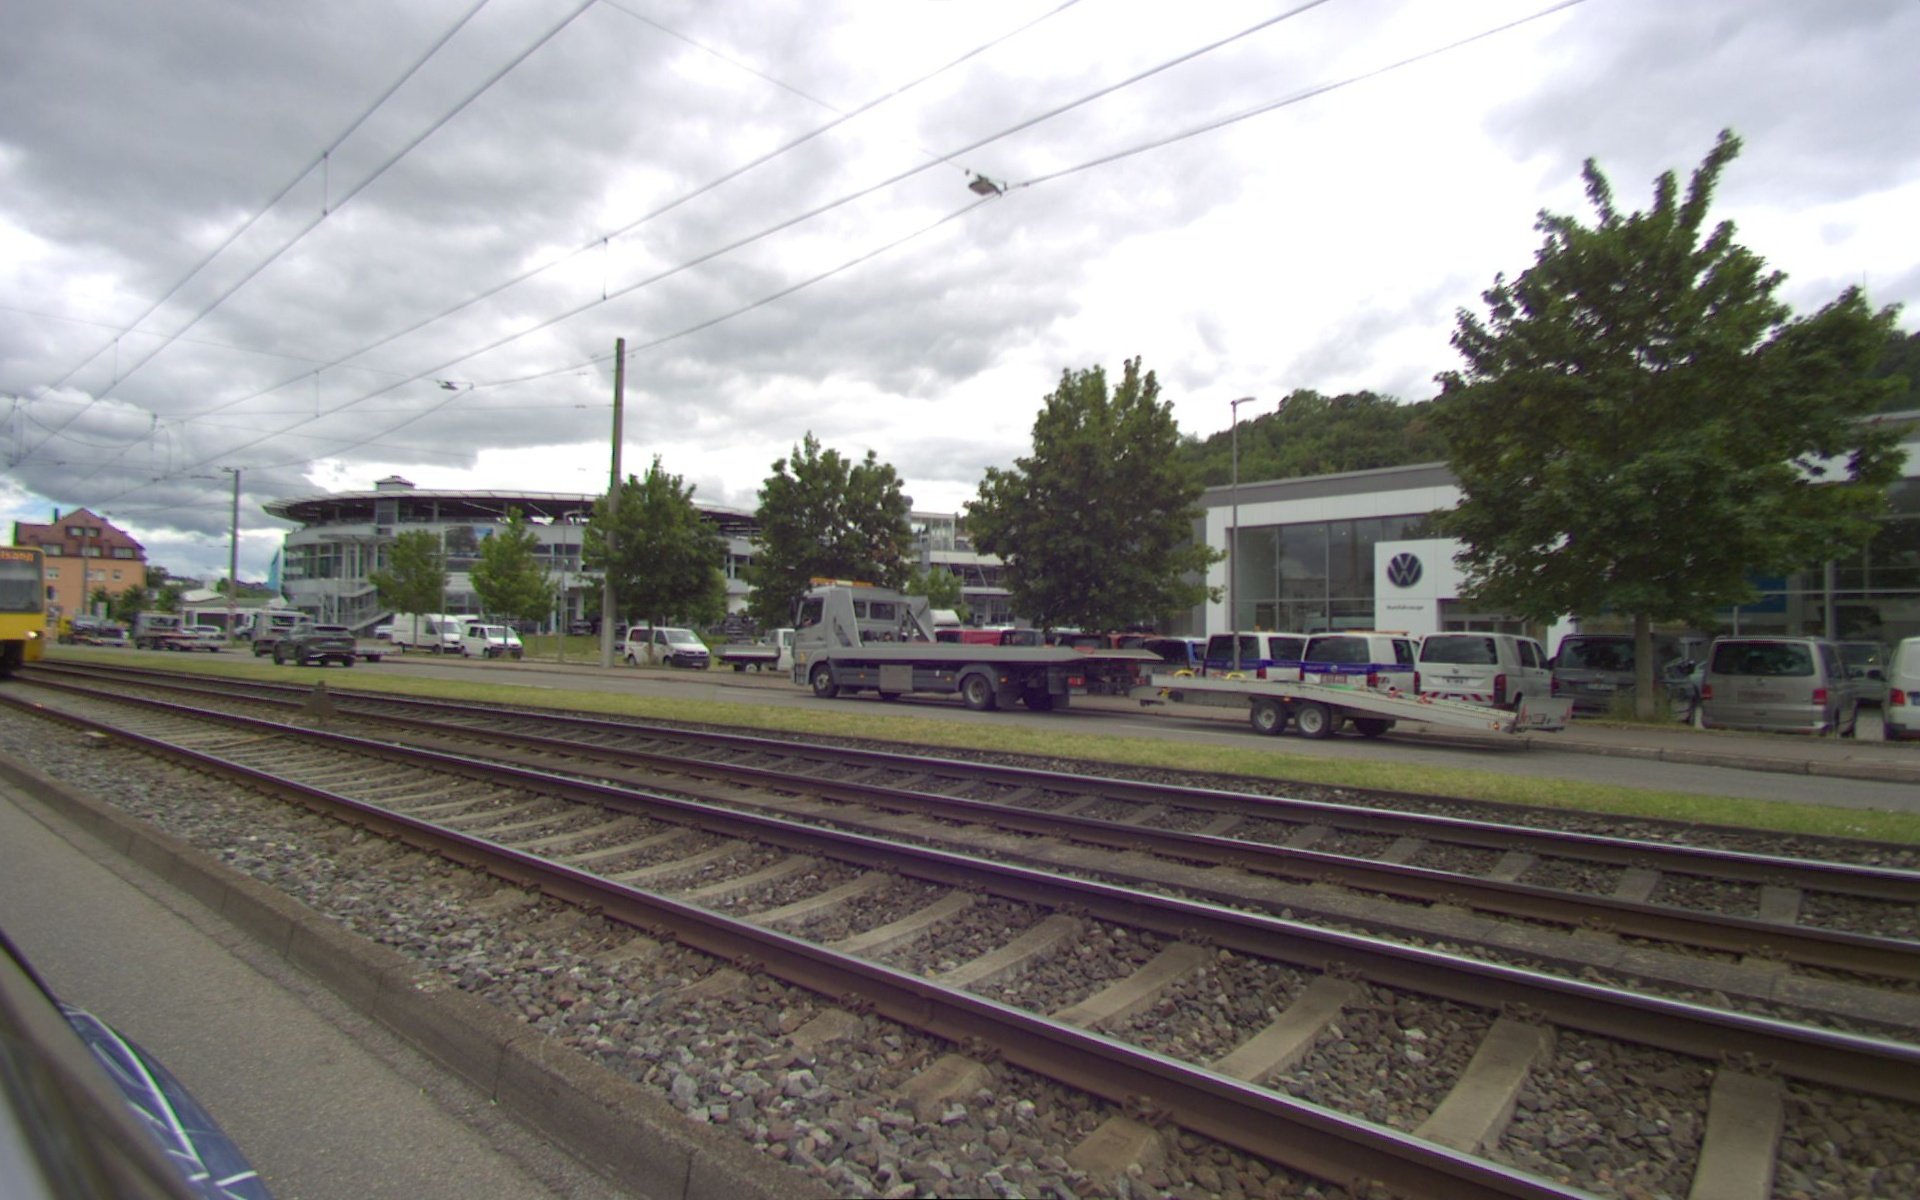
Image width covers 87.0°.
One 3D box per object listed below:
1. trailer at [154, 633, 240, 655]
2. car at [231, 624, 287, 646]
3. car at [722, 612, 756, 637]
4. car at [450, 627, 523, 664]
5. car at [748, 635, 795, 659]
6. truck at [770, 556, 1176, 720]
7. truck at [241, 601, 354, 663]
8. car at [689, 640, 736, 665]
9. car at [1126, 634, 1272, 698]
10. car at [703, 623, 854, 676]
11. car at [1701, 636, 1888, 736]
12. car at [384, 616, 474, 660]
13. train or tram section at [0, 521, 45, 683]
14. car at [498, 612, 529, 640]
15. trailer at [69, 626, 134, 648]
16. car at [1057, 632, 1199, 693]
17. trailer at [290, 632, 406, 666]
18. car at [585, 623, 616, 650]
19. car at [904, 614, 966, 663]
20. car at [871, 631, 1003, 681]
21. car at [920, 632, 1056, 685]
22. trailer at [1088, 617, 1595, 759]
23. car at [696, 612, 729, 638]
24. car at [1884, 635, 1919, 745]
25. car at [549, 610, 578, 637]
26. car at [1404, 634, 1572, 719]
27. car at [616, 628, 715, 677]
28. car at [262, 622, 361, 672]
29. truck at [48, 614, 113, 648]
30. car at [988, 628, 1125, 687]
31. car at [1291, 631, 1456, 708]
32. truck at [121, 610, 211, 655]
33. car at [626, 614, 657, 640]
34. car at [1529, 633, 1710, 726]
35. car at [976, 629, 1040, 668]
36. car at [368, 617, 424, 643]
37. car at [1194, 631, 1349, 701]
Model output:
[{"bbox_3d":[-50.408,2.893,66.777,7.000,1.287,3.018,-2,-5,40],"label":"trailer"},{"bbox_3d":[-62.657,3.112,90.443,3.936,1.962,2.004,2,-3,-39],"label":"car"},{"bbox_3d":[-18.059,2.006,82.587,1.965,2.029,4.013,1,-2,-23],"label":"car"},{"bbox_3d":[-26.837,2.555,57.274,4.805,2.029,1.973,-2,-3,41],"label":"car"},{"bbox_3d":[-13.399,3.306,71.832,1.650,1.630,3.722,2,-3,-40],"label":"car"},{"bbox_3d":[-0.168,0.821,21.313,2.724,2.763,9.223,5,-5,-45],"label":"truck"},{"bbox_3d":[-35.447,1.748,54.030,8.451,3.004,2.833,-2,-5,42],"label":"truck"},{"bbox_3d":[-16.907,3.565,69.052,1.650,1.630,3.722,2,-3,-40],"label":"car"},{"bbox_3d":[6.617,1.764,27.832,3.937,1.630,2.003,2,-3,-41],"label":"car"},{"bbox_3d":[-7.350,2.020,41.052,5.615,2.023,2.151,2,-3,-25],"label":"car"},{"bbox_3d":[15.460,1.482,18.674,4.312,1.630,2.007,2,-3,-42],"label":"car"},{"bbox_3d":[-31.945,2.266,60.834,5.839,2.580,1.980,-1,-2,30],"label":"car"},{"bbox_3d":[-30.693,0.135,30.261,16.941,4.037,3.352,-1,-1,42],"label":"train or tram section"},{"bbox_3d":[-33.548,1.989,76.126,1.965,2.029,4.013,1,-2,-23],"label":"car"},{"bbox_3d":[-71.996,3.094,84.822,7.563,1.701,2.947,-2,-3,41],"label":"trailer"},{"bbox_3d":[4.867,1.757,29.136,3.937,1.630,2.003,2,-3,-41],"label":"car"},{"bbox_3d":[-29.582,2.345,48.783,7.222,1.507,2.728,-2,-5,42],"label":"trailer"},{"bbox_3d":[-27.901,2.811,78.481,1.965,2.029,4.013,1,-2,-23],"label":"car"},{"bbox_3d":[-1.519,2.230,59.124,1.965,2.726,4.876,1,-2,-23],"label":"car"},{"bbox_3d":[-0.753,1.933,35.618,4.291,1.630,2.123,2,-3,-41],"label":"car"},{"bbox_3d":[0.945,1.850,32.863,4.126,1.630,2.066,2,-3,-41],"label":"car"},{"bbox_3d":[5.456,1.202,15.553,2.355,1.711,6.952,5,-5,-44],"label":"trailer"},{"bbox_3d":[-20.073,2.008,81.916,1.965,2.029,4.013,1,-2,-23],"label":"car"},{"bbox_3d":[16.768,1.437,16.755,2.032,1.701,4.316,-2,-3,44],"label":"car"},{"bbox_3d":[-30.221,1.828,77.114,1.965,2.029,4.013,1,-2,-23],"label":"car"},{"bbox_3d":[11.501,1.569,21.911,4.315,1.630,2.005,2,-3,-45],"label":"car"},{"bbox_3d":[-13.072,2.295,44.822,4.860,2.029,1.972,-1,-3,43],"label":"car"},{"bbox_3d":[-25.093,1.806,39.106,4.532,1.752,1.972,0,-4,41],"label":"car"},{"bbox_3d":[-78.391,2.745,90.171,9.060,2.881,3.018,-2,-3,41],"label":"truck"},{"bbox_3d":[3.004,1.727,31.031,3.937,1.677,2.051,2,-3,-41],"label":"car"},{"bbox_3d":[9.664,1.552,23.560,3.937,1.630,2.003,2,-3,-41],"label":"car"},{"bbox_3d":[-56.516,2.308,71.946,8.953,2.944,3.076,-2,-5,40],"label":"truck"},{"bbox_3d":[-25.698,2.186,81.497,1.965,2.029,4.013,1,-2,-23],"label":"car"},{"bbox_3d":[13.488,1.527,20.614,4.312,1.699,2.007,2,-3,-42],"label":"car"},{"bbox_3d":[2.734,2.803,59.060,1.965,2.144,4.876,1,-2,-20],"label":"car"},{"bbox_3d":[-45.654,2.452,81.959,1.976,2.029,3.991,0,-2,7],"label":"car"},{"bbox_3d":[7.937,1.608,25.662,3.937,1.630,2.003,2,-3,-41],"label":"car"}]
